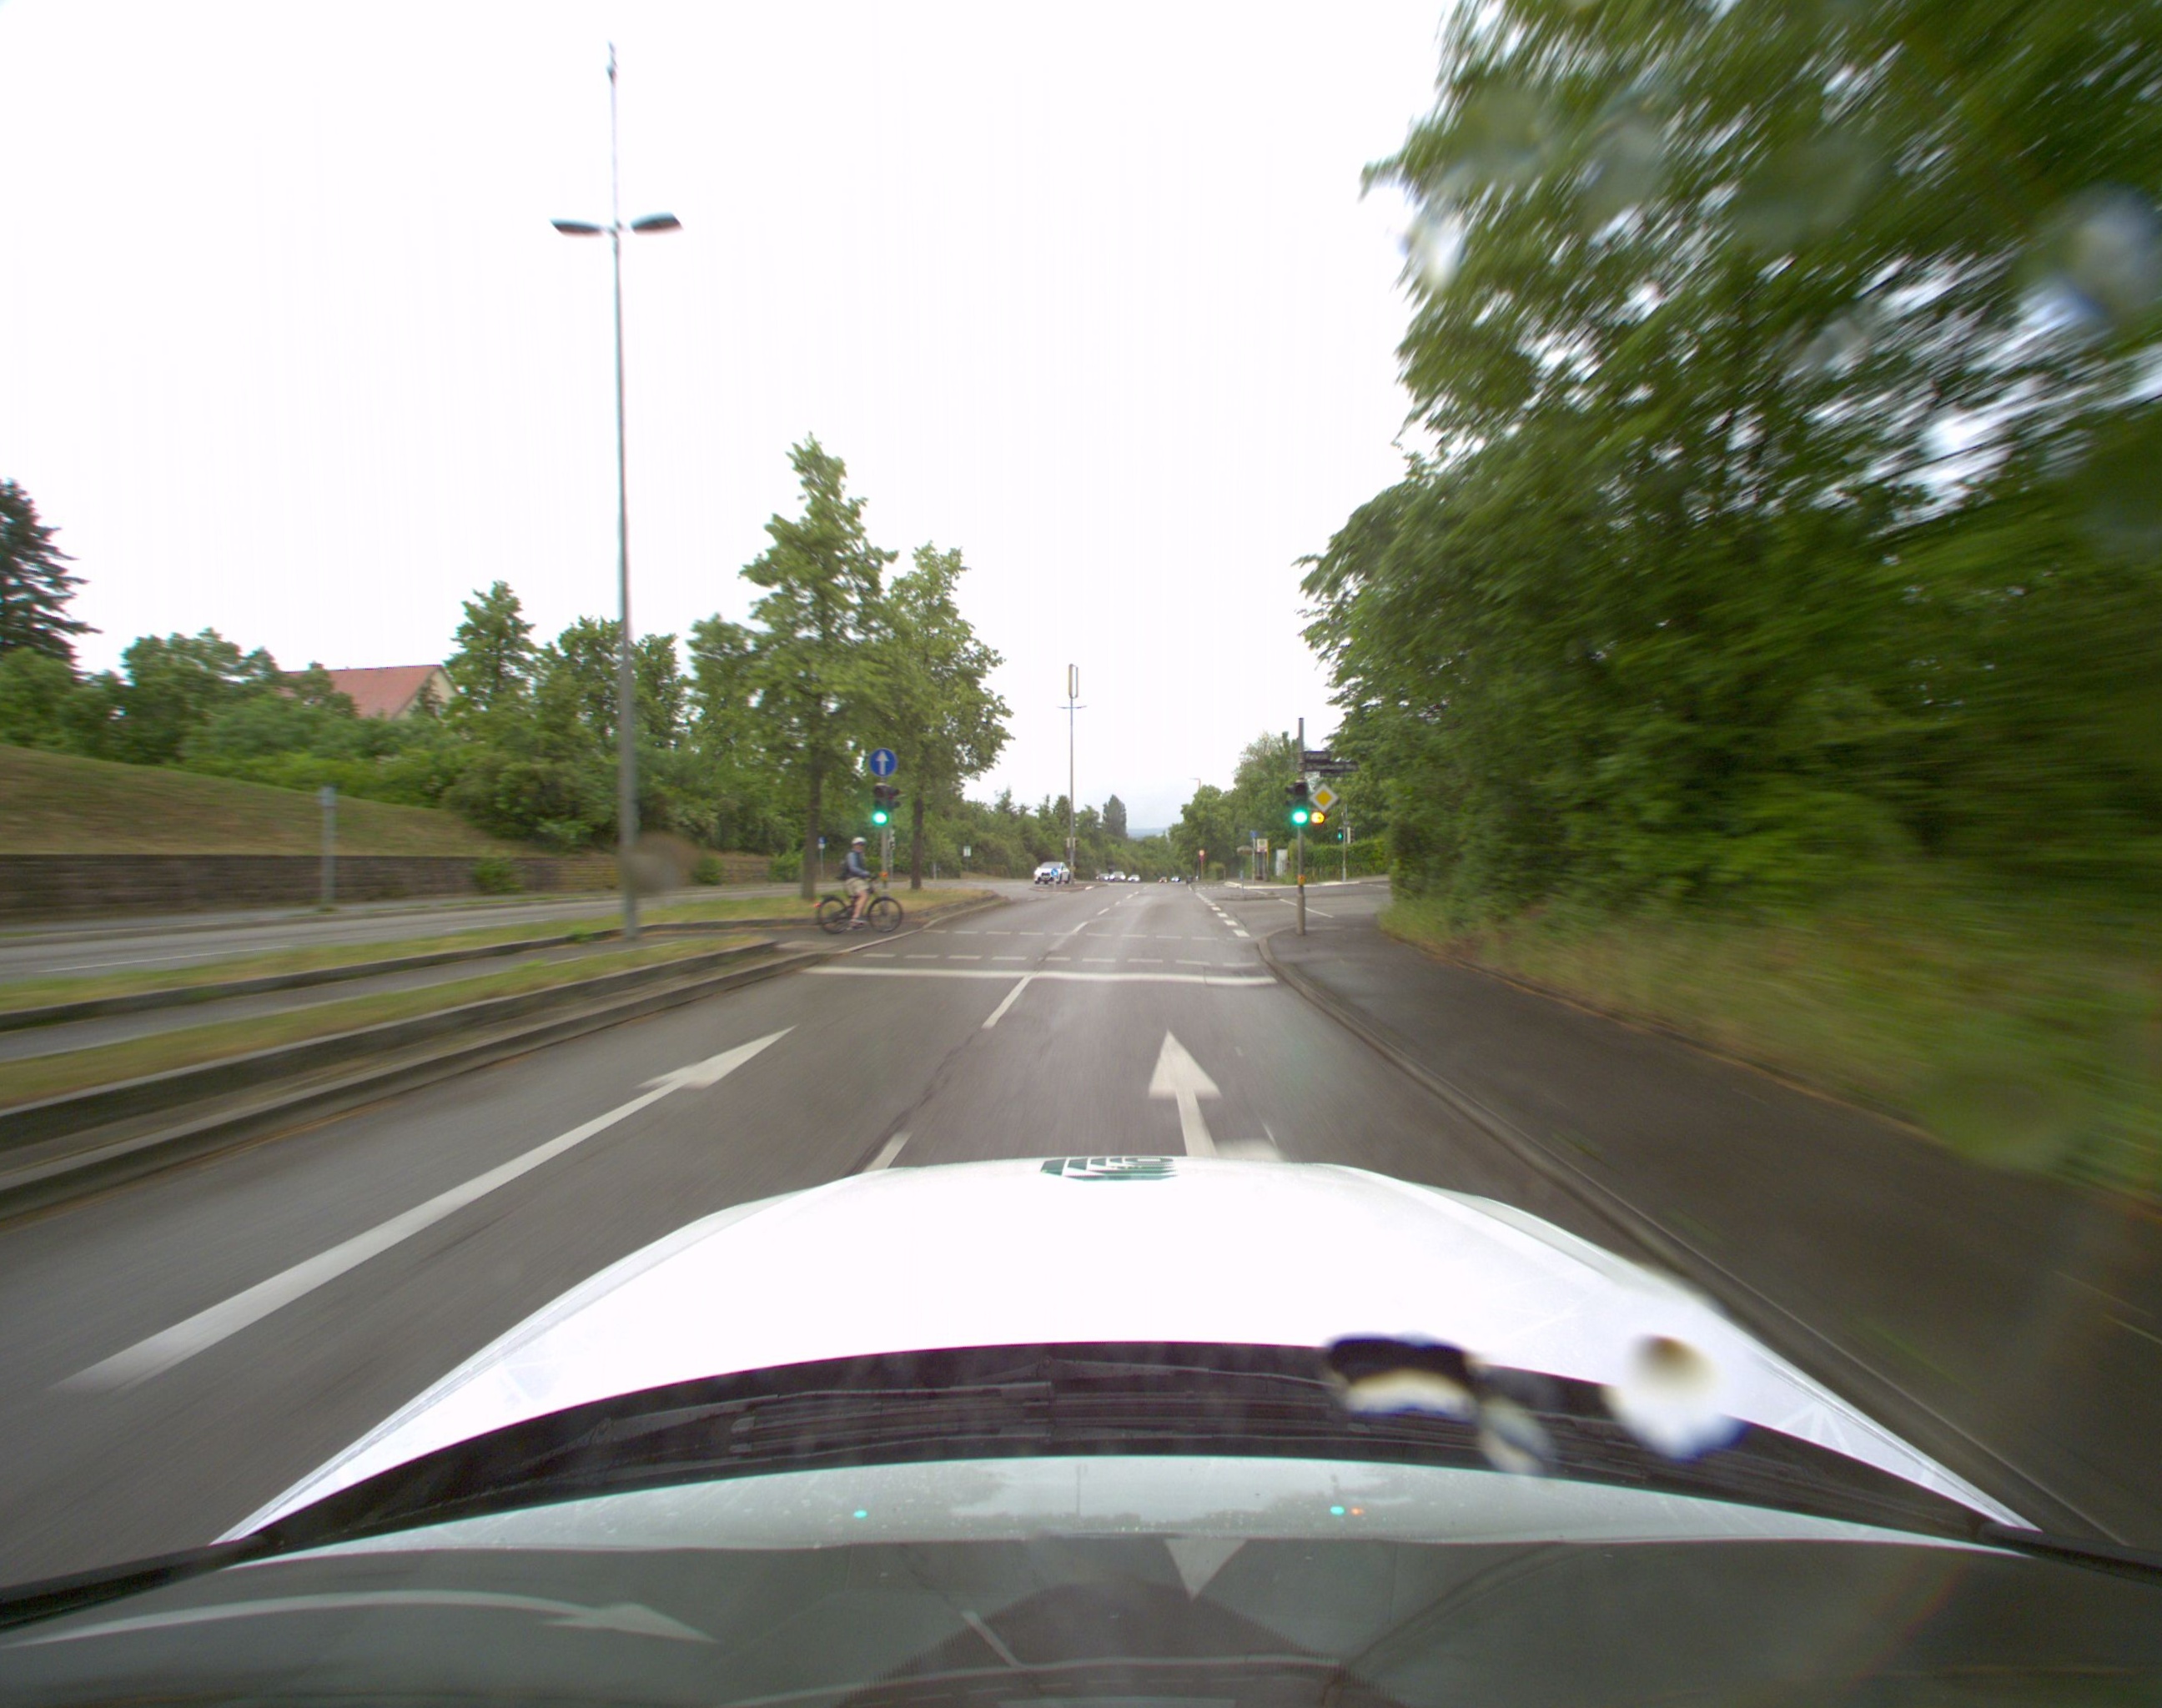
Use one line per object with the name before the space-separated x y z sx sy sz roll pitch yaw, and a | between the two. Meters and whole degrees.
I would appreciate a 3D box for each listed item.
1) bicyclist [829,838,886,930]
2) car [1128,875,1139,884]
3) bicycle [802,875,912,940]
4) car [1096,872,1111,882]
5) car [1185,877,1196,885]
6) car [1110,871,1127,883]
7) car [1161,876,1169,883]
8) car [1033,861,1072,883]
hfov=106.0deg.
bicyclist | -4.417 0.599 16.098 0.716 1.752 0.806 -3 -3 39
car | 10.277 4.896 157.969 1.713 1.591 4.010 0 0 9
bicycle | -4.348 1.015 15.998 0.547 1.143 2.153 0 0 39
car | 3.527 3.575 127.571 1.808 1.438 4.466 0 -1 10
car | 23.518 5.755 174.691 1.931 1.591 3.942 0 0 13
car | 4.932 3.024 105.985 1.768 1.472 4.655 1 -1 8
car | 21.436 6.462 207.043 1.715 1.565 3.900 3 -1 8
car | -2.112 1.365 62.163 1.933 1.635 5.019 0 -1 10
